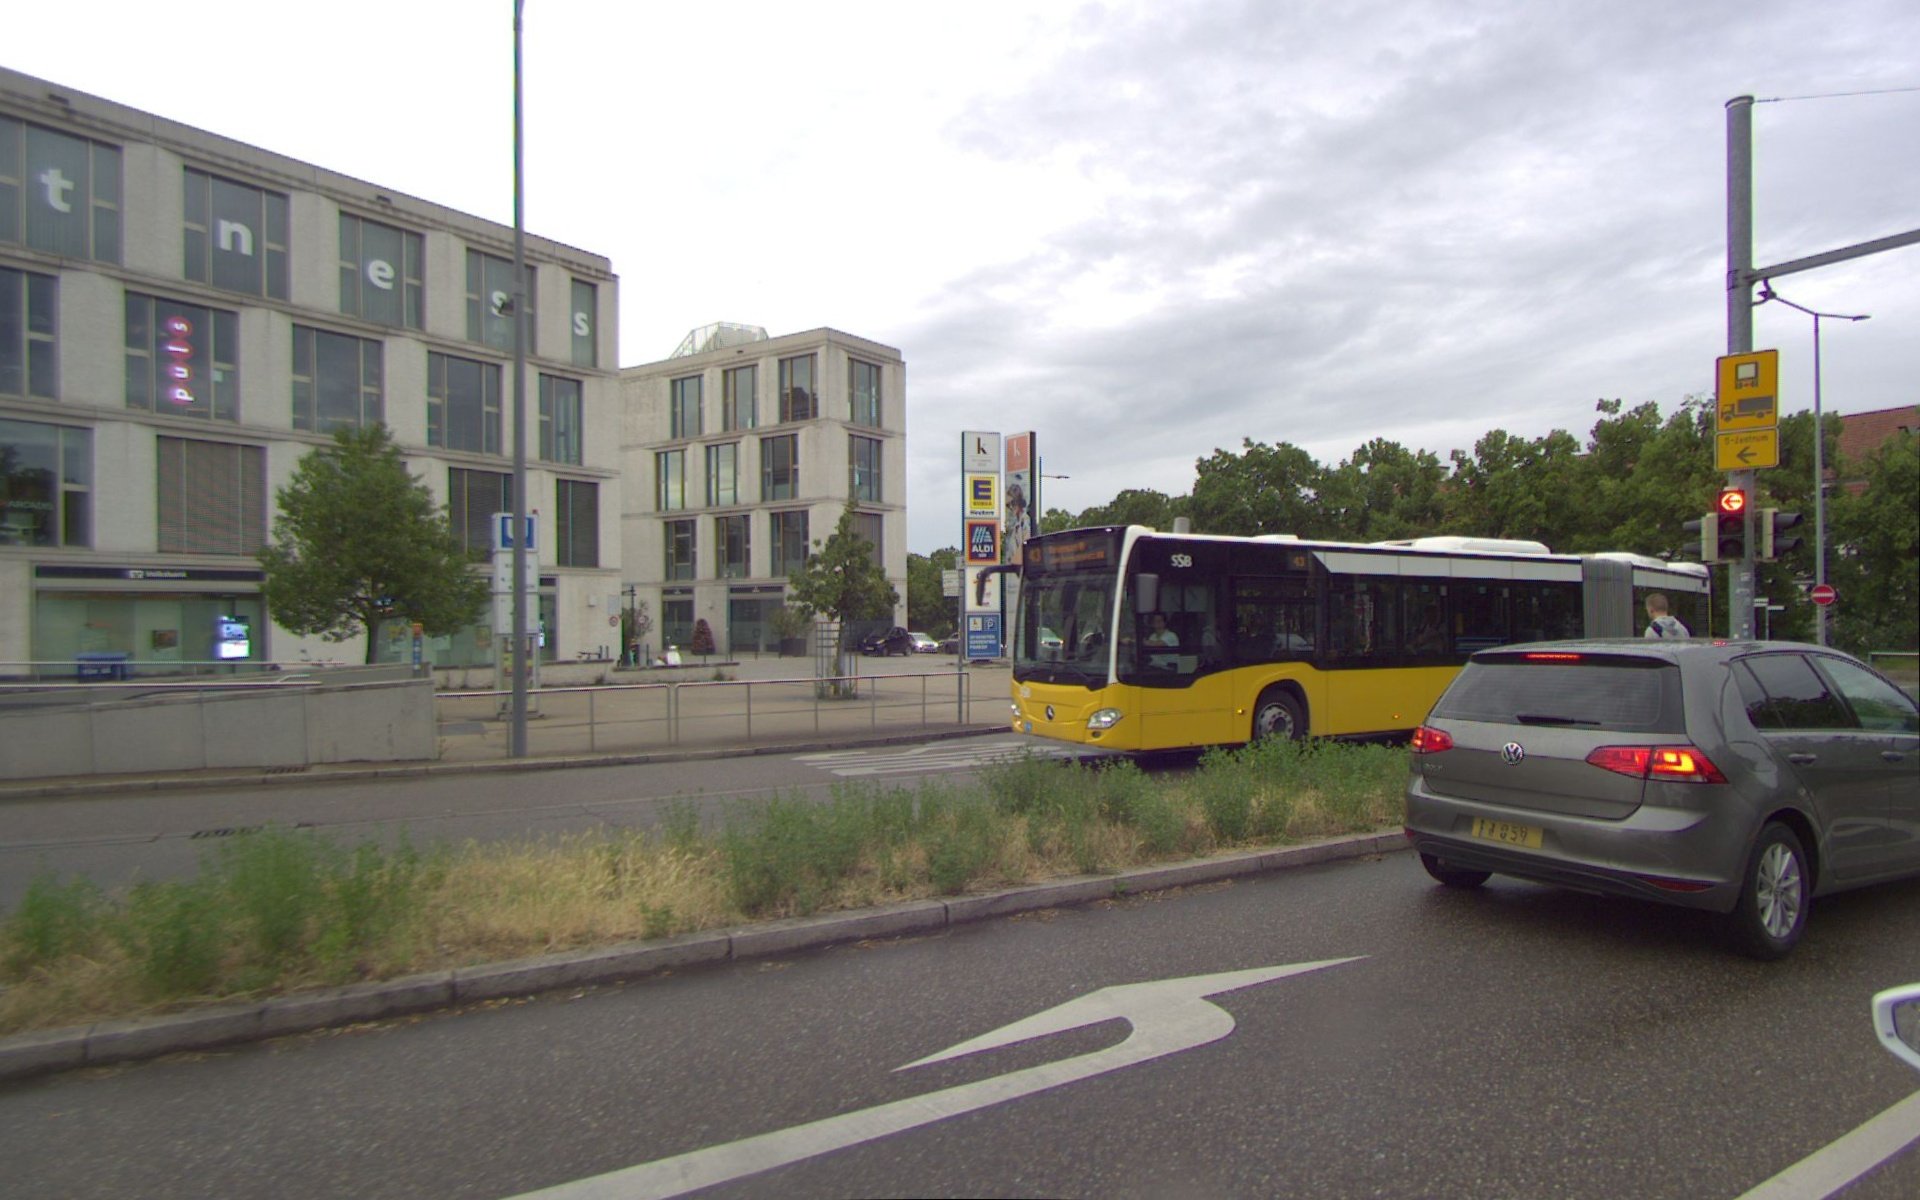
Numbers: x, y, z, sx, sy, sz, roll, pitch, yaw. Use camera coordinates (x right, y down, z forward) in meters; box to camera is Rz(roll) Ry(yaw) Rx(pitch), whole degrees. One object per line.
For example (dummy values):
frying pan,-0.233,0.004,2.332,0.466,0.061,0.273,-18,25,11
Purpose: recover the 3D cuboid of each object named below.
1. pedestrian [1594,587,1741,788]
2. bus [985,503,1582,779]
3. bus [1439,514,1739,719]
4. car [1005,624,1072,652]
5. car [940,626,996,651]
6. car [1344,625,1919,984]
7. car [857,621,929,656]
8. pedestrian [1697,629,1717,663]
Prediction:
pedestrian,7.618,0.926,10.848,0.835,2.039,0.938,1,-4,-24
bus,5.220,0.595,15.106,9.641,3.144,2.875,1,-2,-30
bus,12.983,0.401,20.337,8.510,3.351,2.863,2,-2,-41
car,4.758,2.283,61.432,1.940,1.551,4.509,1,-1,-30
car,0.484,2.343,61.574,1.649,1.444,3.947,1,-1,-30
car,4.413,0.914,5.877,4.145,1.448,1.798,1,-3,-29
car,-3.498,1.998,52.968,1.748,1.754,3.990,0,-2,32
pedestrian,33.558,2.067,45.128,0.612,1.509,0.767,0,-1,45
